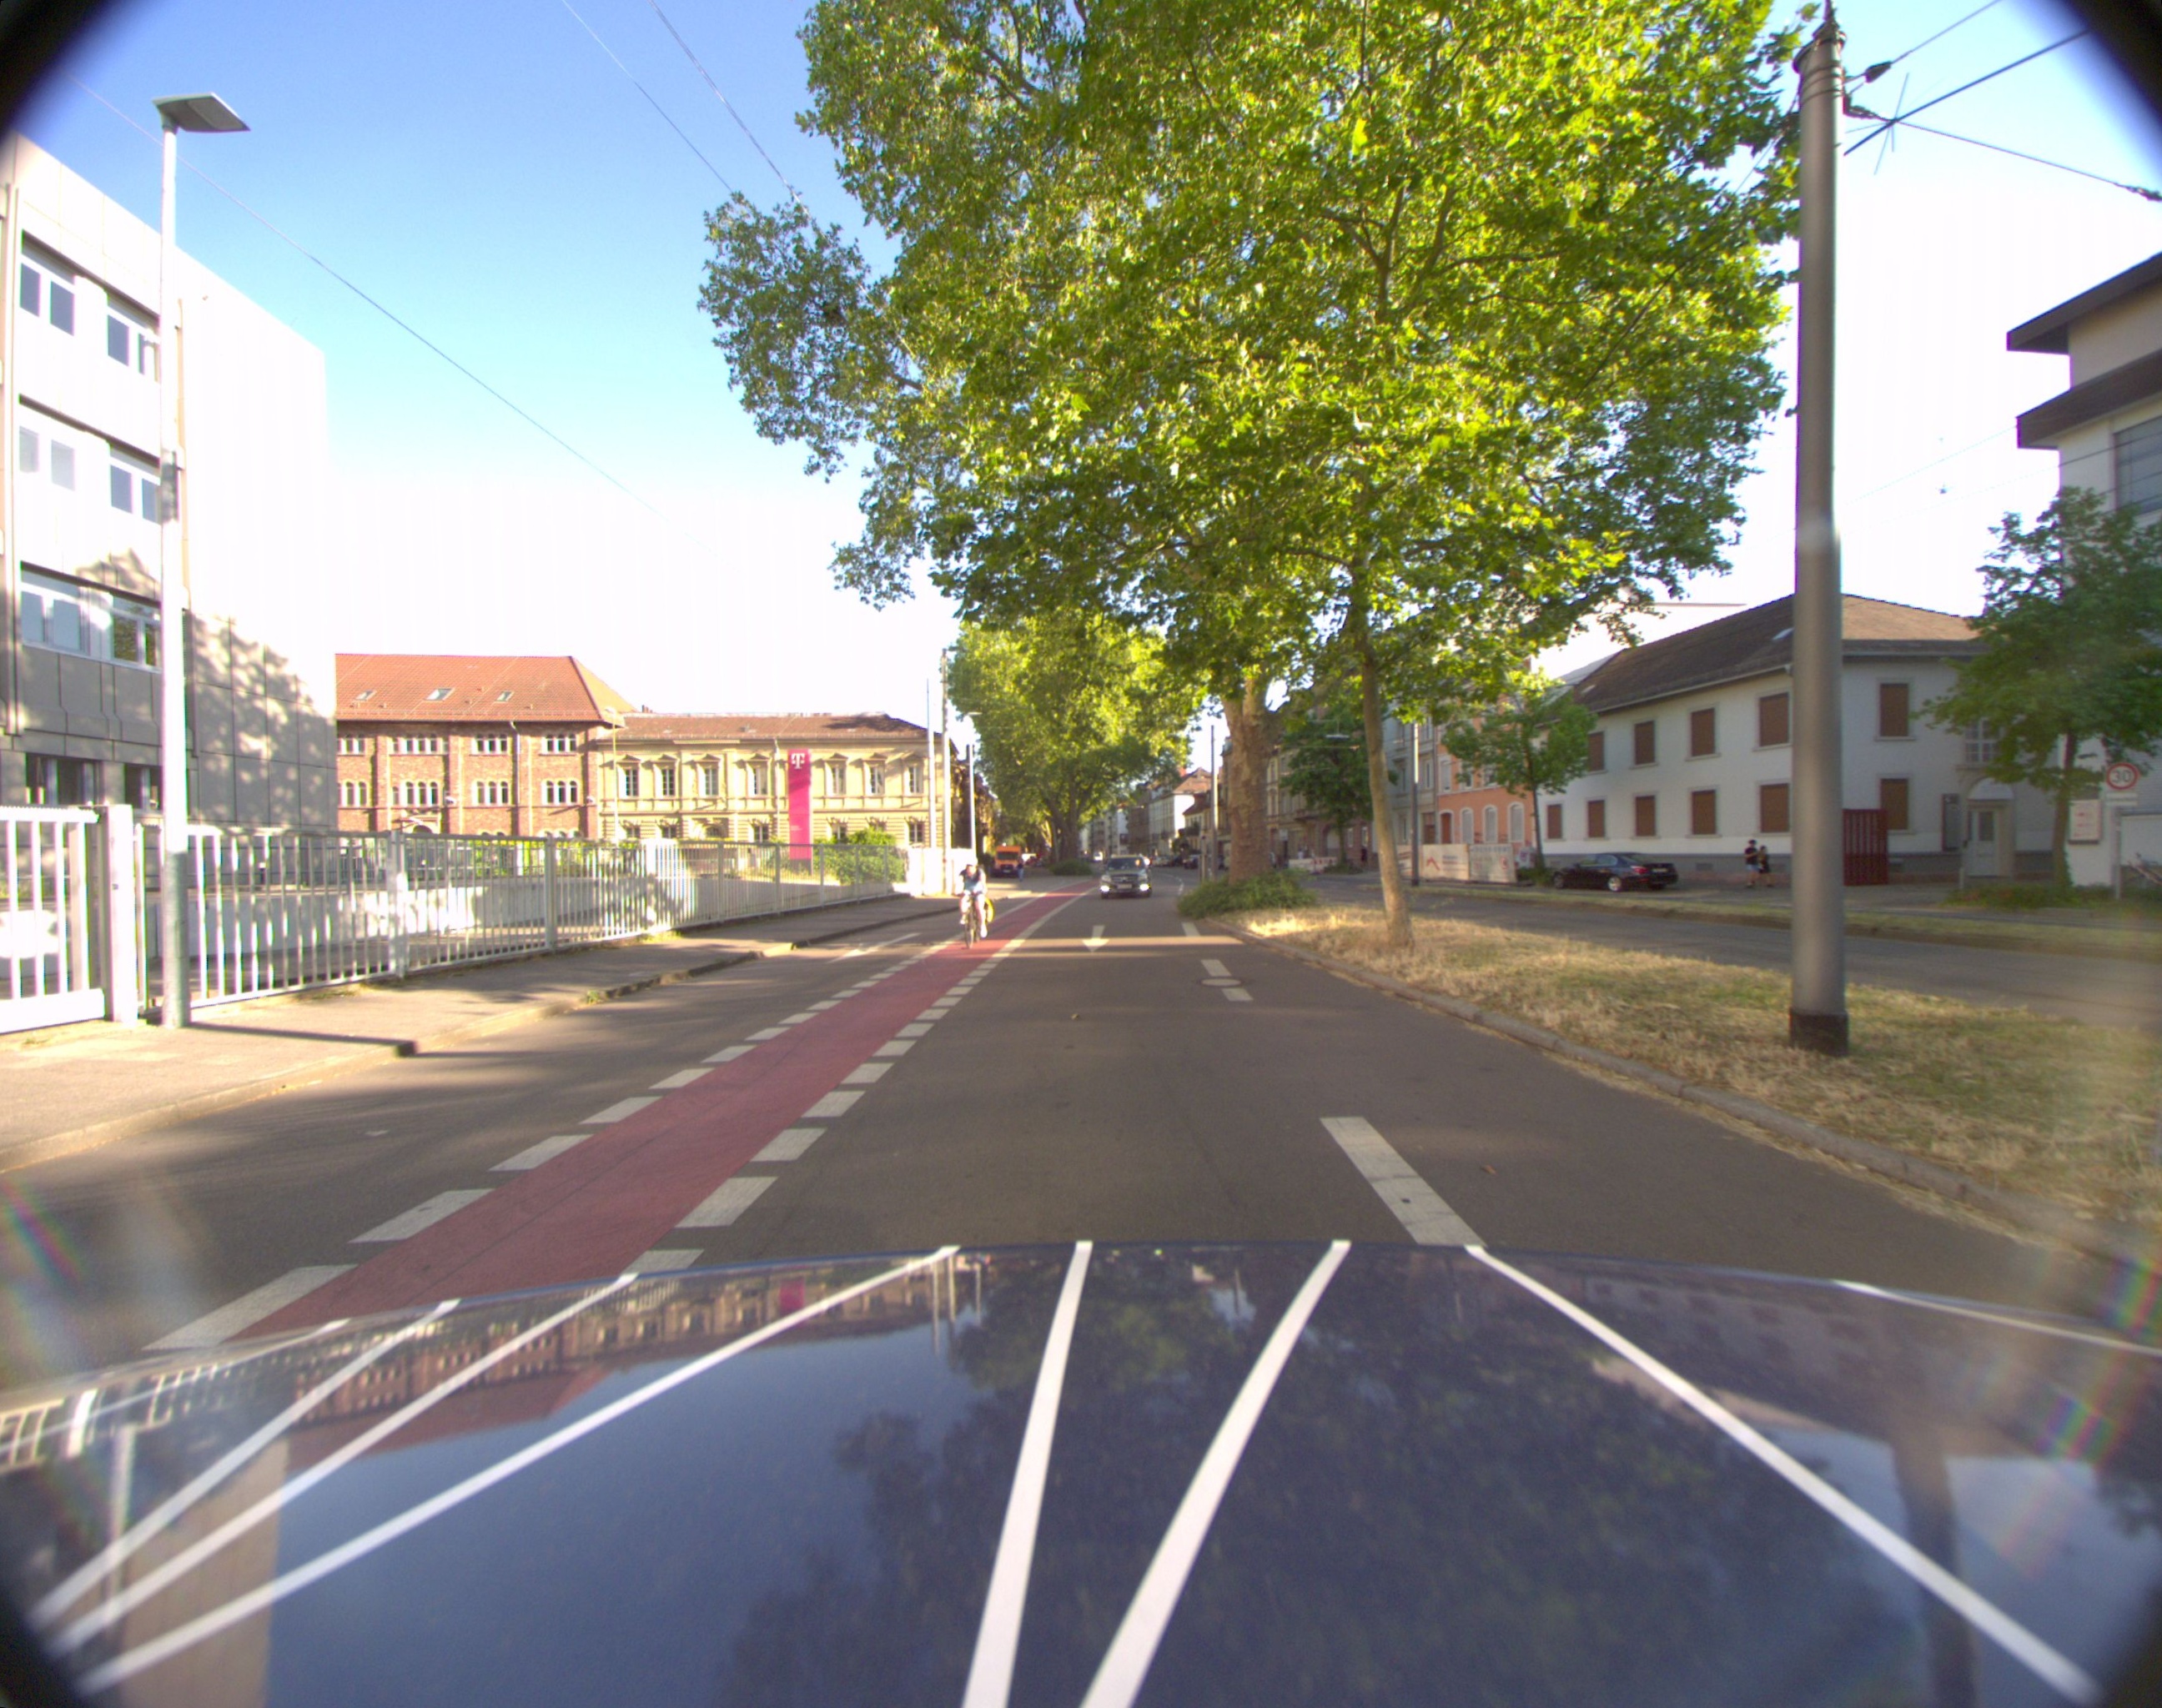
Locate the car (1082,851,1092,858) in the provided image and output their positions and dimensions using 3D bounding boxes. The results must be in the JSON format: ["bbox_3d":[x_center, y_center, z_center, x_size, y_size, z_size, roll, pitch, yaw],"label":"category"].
[{"bbox_3d":[1.334,0.104,178.781,1.999,1.741,3.998,-2,1,-4],"label":"car"}]

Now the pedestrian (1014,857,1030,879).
[{"bbox_3d":[-3.916,0.934,50.465,0.898,1.464,0.810,-1,1,2],"label":"pedestrian"}]

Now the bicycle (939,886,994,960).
[{"bbox_3d":[-2.064,1.209,13.991,0.764,1.137,2.306,-1,0,-3],"label":"bicycle"}]

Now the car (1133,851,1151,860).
[{"bbox_3d":[10.501,0.259,130.702,2.088,1.531,4.253,-4,1,-7],"label":"car"}]

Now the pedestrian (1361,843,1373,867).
[{"bbox_3d":[21.726,0.081,57.721,0.561,1.798,0.705,-1,1,-3],"label":"pedestrian"}]

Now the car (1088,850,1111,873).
[{"bbox_3d":[1.789,0.718,71.624,1.998,2.002,4.000,-2,1,2],"label":"car"}]

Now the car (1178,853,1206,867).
[{"bbox_3d":[13.549,0.700,92.918,2.088,1.531,4.513,-4,1,-7],"label":"car"}]

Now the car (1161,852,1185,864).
[{"bbox_3d":[12.774,0.482,105.993,2.088,1.531,5.101,-4,1,-7],"label":"car"}]

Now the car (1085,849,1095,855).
[{"bbox_3d":[2.569,-0.690,218.652,2.088,1.531,4.124,-4,1,-7],"label":"car"}]

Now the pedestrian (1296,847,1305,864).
[{"bbox_3d":[20.136,0.108,69.728,0.641,1.519,0.615,-1,1,-4],"label":"pedestrian"}]

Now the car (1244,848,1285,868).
[{"bbox_3d":[16.896,0.370,70.220,2.088,1.664,4.530,-4,1,-7],"label":"car"}]

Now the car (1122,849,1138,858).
[{"bbox_3d":[9.033,-0.034,140.913,2.088,1.531,4.006,-4,1,-7],"label":"car"}]

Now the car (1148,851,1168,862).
[{"bbox_3d":[11.624,0.375,114.872,2.088,1.531,4.036,-4,1,-7],"label":"car"}]

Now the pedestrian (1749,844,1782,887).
[{"bbox_3d":[24.245,0.399,26.924,0.537,1.519,0.711,-1,1,-5],"label":"pedestrian"}]

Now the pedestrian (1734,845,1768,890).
[{"bbox_3d":[23.282,0.469,26.402,0.537,1.519,0.711,-1,1,-11],"label":"pedestrian"}]

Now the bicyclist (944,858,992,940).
[{"bbox_3d":[-2.073,0.807,14.002,0.728,1.414,0.859,-2,1,-3],"label":"bicyclist"}]

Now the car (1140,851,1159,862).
[{"bbox_3d":[10.829,0.339,120.793,2.088,1.531,4.095,-4,1,-7],"label":"car"}]

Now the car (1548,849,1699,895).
[{"bbox_3d":[20.536,0.624,29.048,2.088,1.462,4.576,-4,1,-7],"label":"car"}]

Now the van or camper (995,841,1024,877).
[{"bbox_3d":[-5.436,0.355,58.703,1.999,2.578,5.623,-2,1,-4],"label":"van or camper"}]

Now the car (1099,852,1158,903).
[{"bbox_3d":[1.886,0.828,28.897,1.907,1.634,4.518,-3,1,7],"label":"car"}]

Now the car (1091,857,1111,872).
[{"bbox_3d":[2.132,1.072,80.758,1.998,1.376,4.000,-2,1,2],"label":"car"}]
